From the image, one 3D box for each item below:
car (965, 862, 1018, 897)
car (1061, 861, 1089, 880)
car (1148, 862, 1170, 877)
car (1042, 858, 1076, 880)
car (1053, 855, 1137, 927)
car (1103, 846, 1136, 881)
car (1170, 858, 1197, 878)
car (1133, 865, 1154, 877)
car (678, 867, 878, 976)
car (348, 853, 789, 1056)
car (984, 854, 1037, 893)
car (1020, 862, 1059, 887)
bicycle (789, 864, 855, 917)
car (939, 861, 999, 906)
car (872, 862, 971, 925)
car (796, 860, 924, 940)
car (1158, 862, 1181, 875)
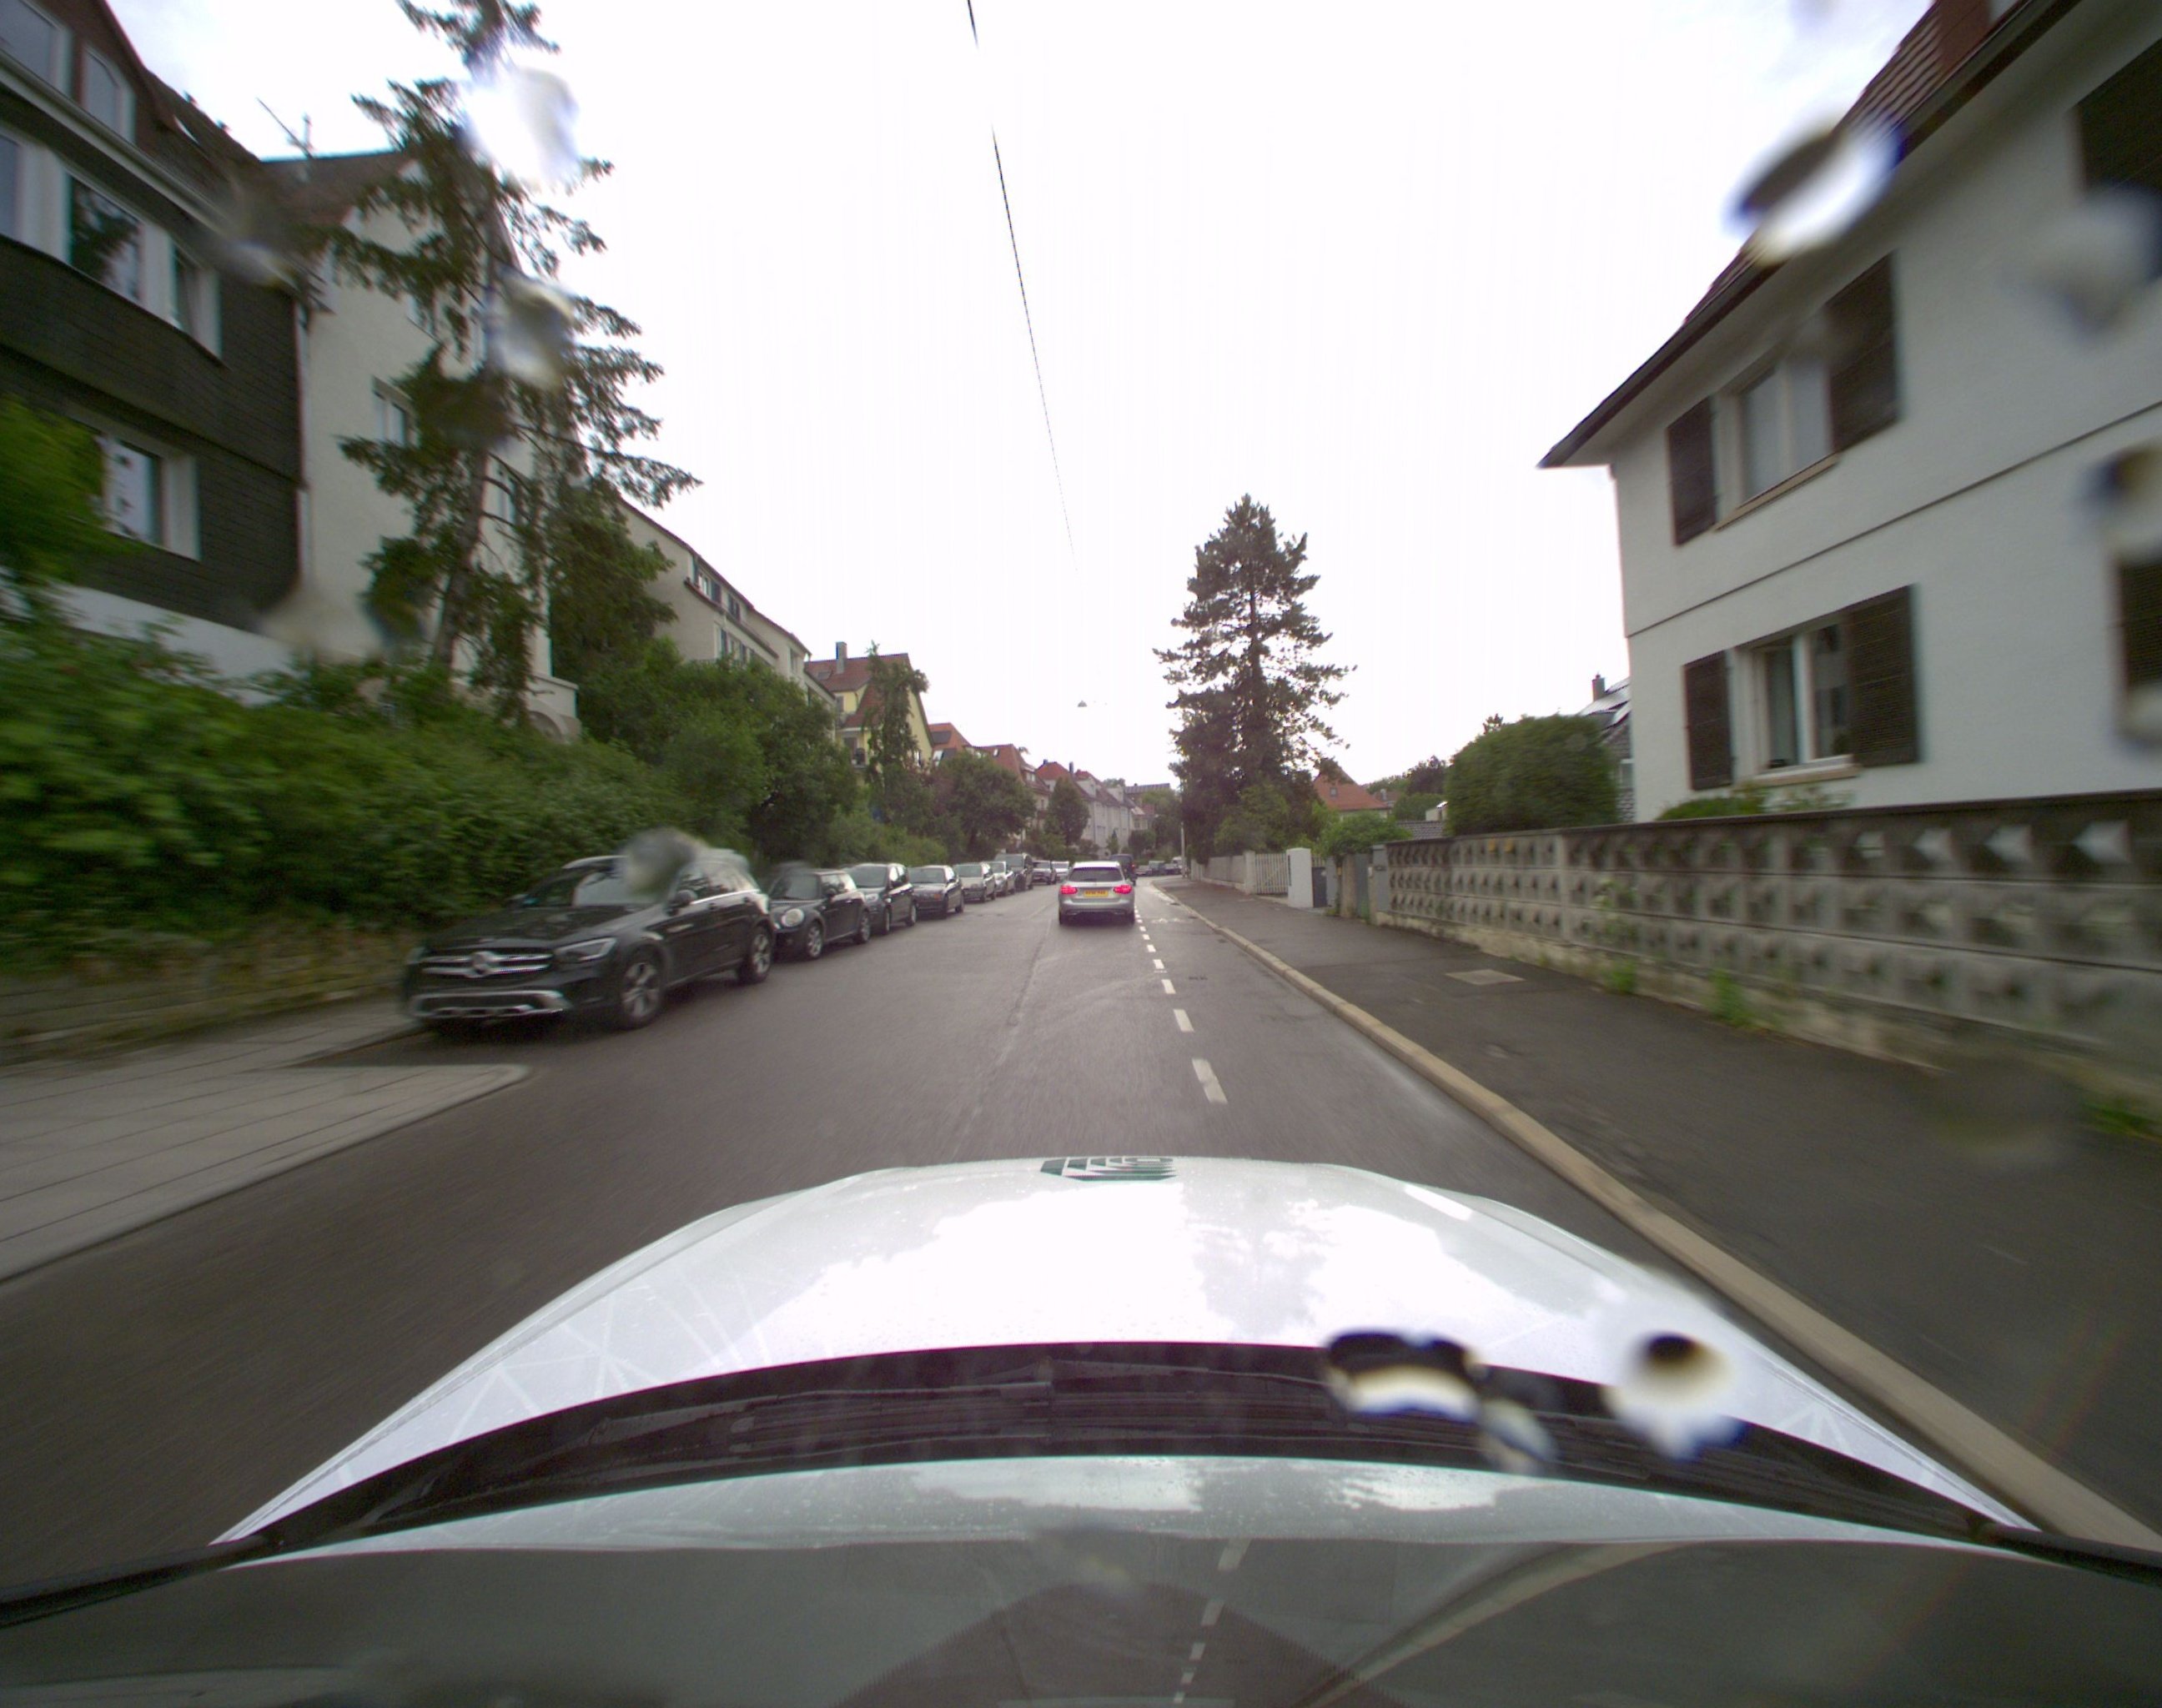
[{"bbox_3d":[-3.914,1.104,36.180,1.687,1.447,3.816,-2,-1,3],"label":"car"},{"bbox_3d":[-0.539,1.461,73.747,1.781,1.581,4.149,1,0,9],"label":"car"},{"bbox_3d":[10.630,2.110,110.854,1.814,2.056,5.034,-1,-1,19],"label":"car"},{"bbox_3d":[-1.705,1.192,65.261,1.983,1.702,4.747,1,0,7],"label":"car"},{"bbox_3d":[0.448,0.831,19.991,1.808,1.556,4.005,-1,0,4],"label":"car"},{"bbox_3d":[2.304,0.579,48.181,1.835,1.904,4.003,-1,-1,4],"label":"car"},{"bbox_3d":[15.664,2.154,124.103,2.370,2.772,6.567,-1,1,22],"label":"car"},{"bbox_3d":[8.110,2.218,105.298,1.630,1.417,4.633,-1,-1,17],"label":"car"},{"bbox_3d":[-4.991,1.036,14.035,1.886,1.446,3.815,-1,1,2],"label":"car"},{"bbox_3d":[-4.966,0.830,8.830,1.886,1.622,4.380,-1,0,2],"label":"car"},{"bbox_3d":[-3.596,0.962,42.512,1.985,1.878,5.361,-1,0,3],"label":"car"},{"bbox_3d":[-2.756,1.336,55.083,1.984,1.581,4.767,1,0,5],"label":"car"},{"bbox_3d":[-7.232,0.986,22.855,1.000,1.301,2.292,-1,1,2],"label":"bicycle"},{"bbox_3d":[-4.205,1.072,30.951,1.640,1.446,3.630,-1,1,2],"label":"car"},{"bbox_3d":[-4.370,1.025,22.982,1.749,1.446,4.418,-1,1,2],"label":"car"},{"bbox_3d":[-4.801,0.936,18.205,1.690,1.541,3.815,-1,0,2],"label":"car"},{"bbox_3d":[12.740,2.077,116.876,1.976,1.688,4.703,-1,1,23],"label":"car"}]
